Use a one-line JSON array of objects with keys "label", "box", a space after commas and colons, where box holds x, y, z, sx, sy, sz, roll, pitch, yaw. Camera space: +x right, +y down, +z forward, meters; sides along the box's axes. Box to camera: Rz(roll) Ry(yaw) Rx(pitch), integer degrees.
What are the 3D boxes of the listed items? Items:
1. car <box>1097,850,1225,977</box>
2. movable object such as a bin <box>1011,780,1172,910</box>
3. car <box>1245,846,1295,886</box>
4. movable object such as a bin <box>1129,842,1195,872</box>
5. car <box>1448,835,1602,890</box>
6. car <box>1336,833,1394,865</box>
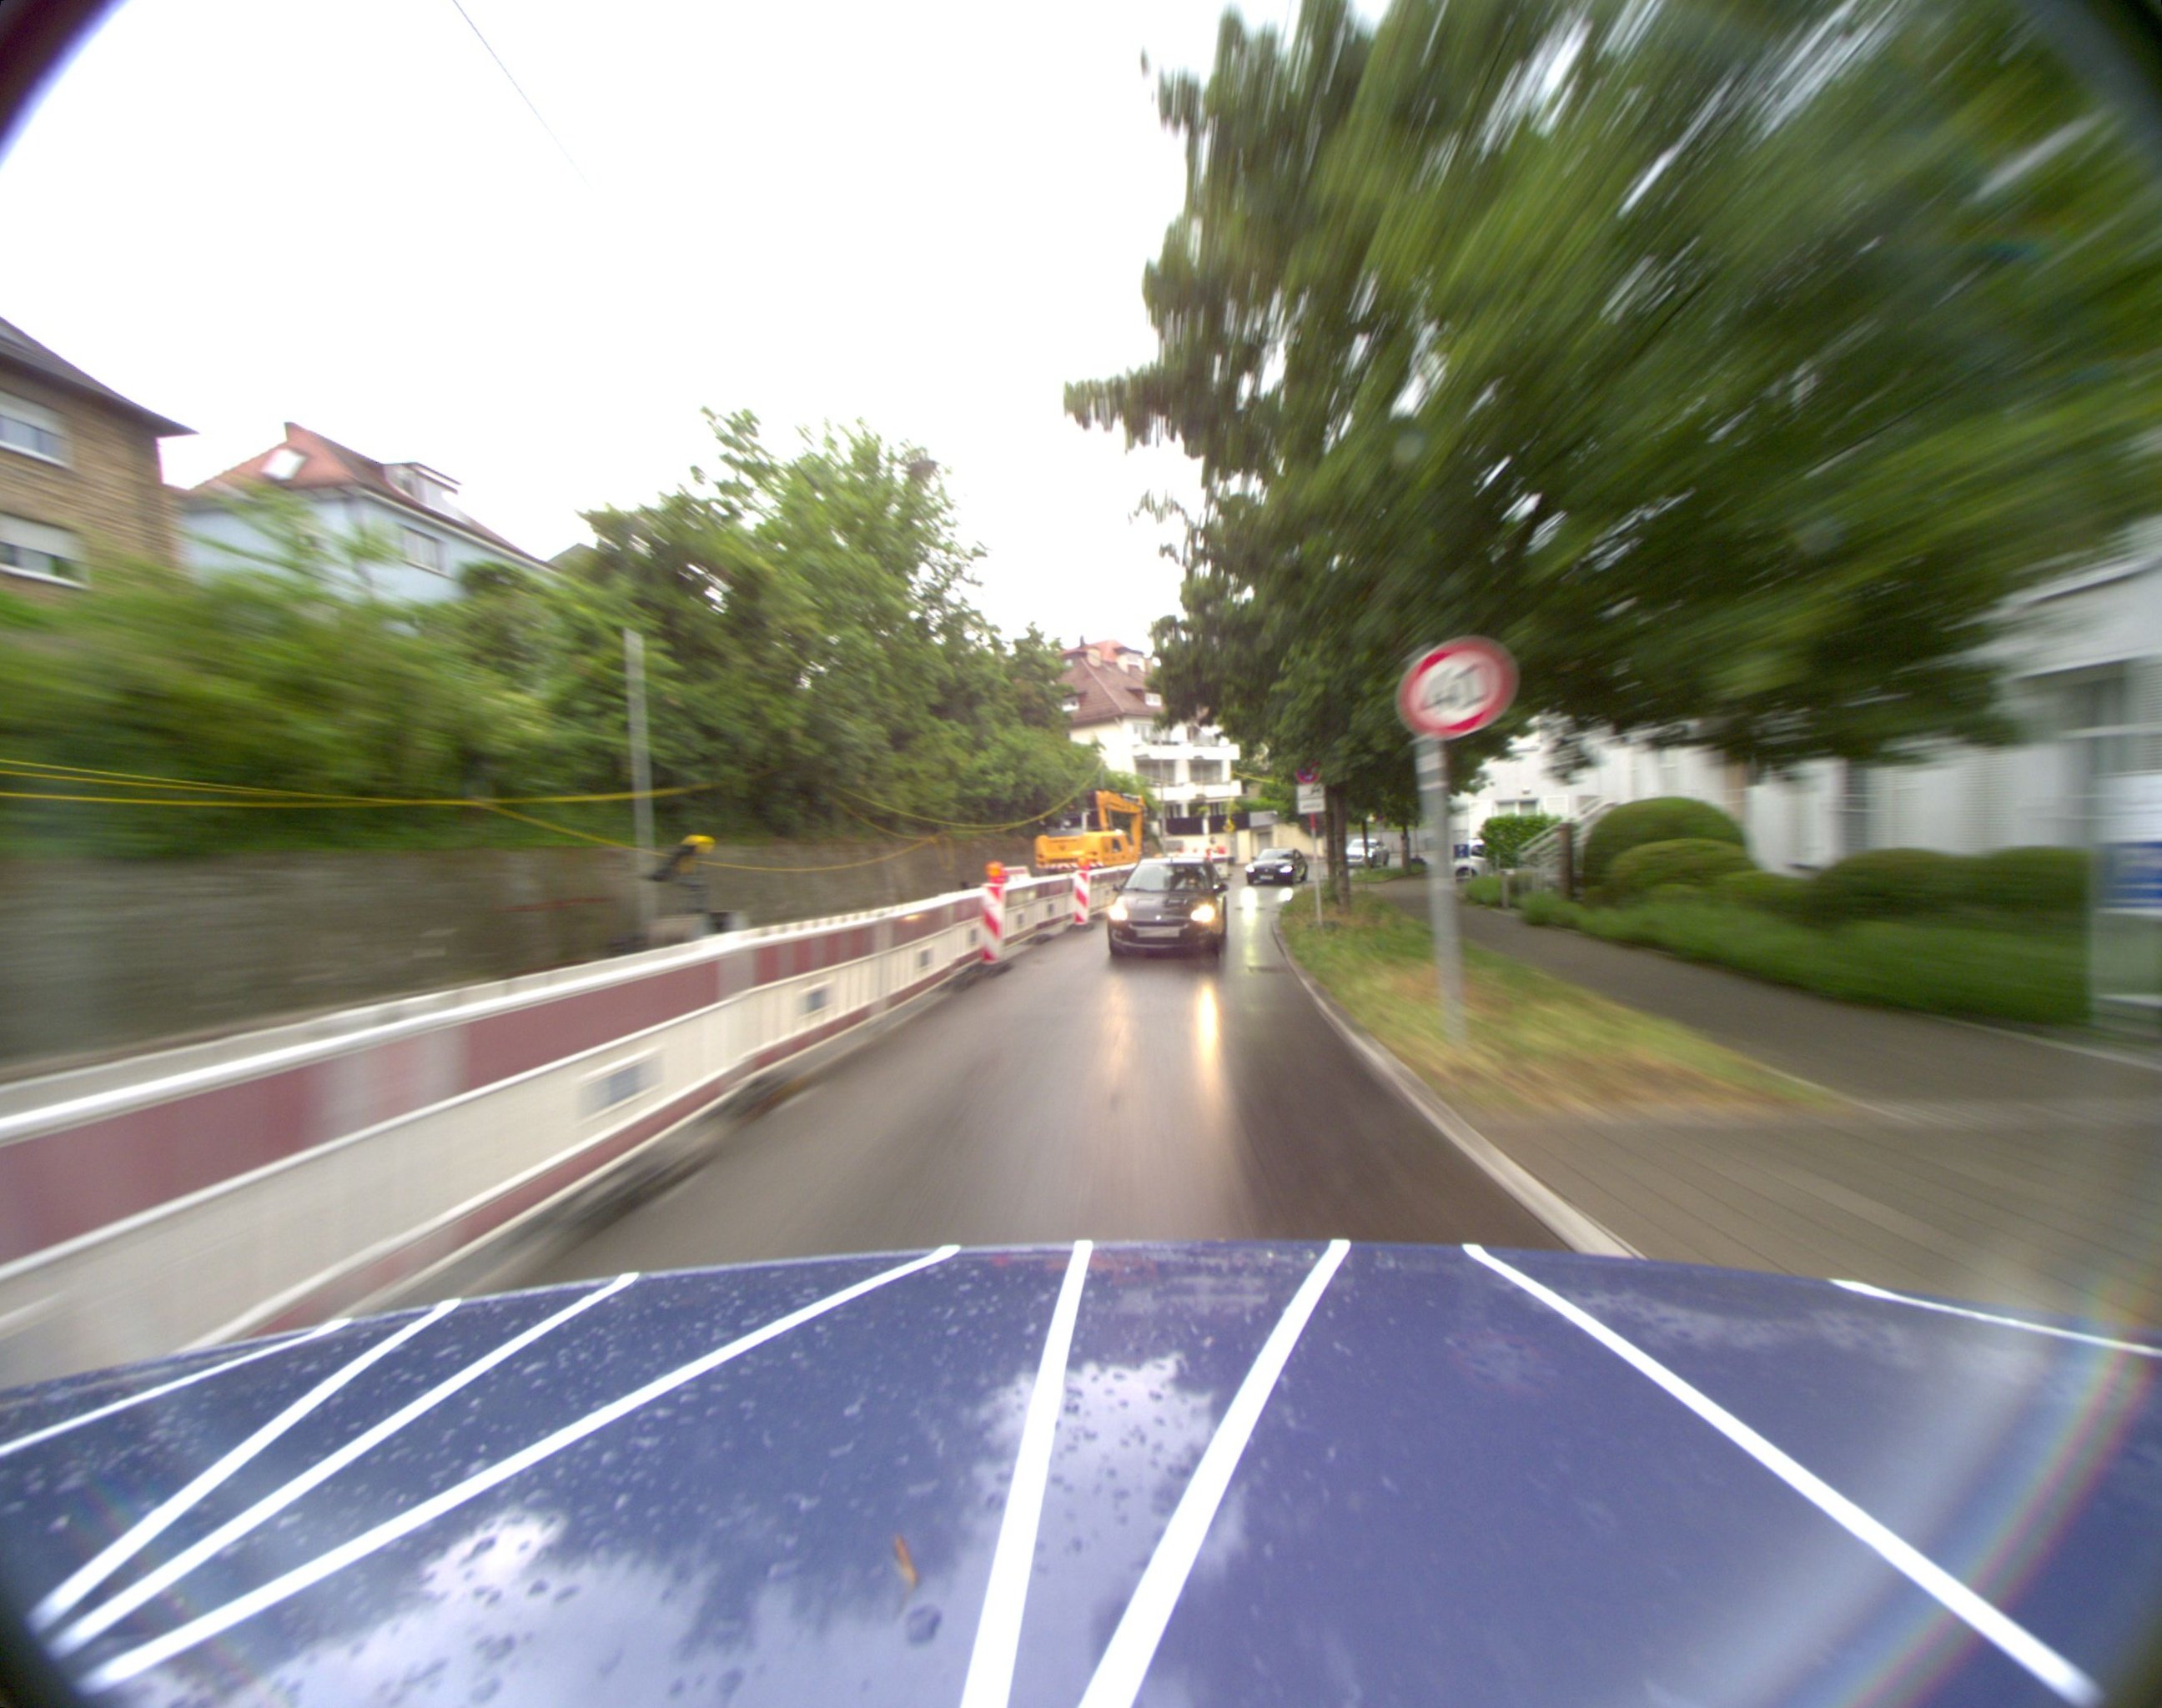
[{"label": "car", "box": [1.444, 0.849, 12.438, 1.576, 1.445, 3.587, -2, 5, 13]}, {"label": "movable object such as a bin", "box": [0.662, -0.368, 27.233, 2.821, 3.992, 7.338, 0, 2, 26]}, {"label": "car", "box": [7.720, 0.453, 30.811, 1.805, 1.480, 4.021, -1, 1, 16]}, {"label": "movable object such as a bin", "box": [4.438, 0.152, 41.169, 1.994, 1.511, 4.007, -1, 1, 32]}, {"label": "car", "box": [13.705, 0.219, 23.675, 3.989, 1.552, 1.752, 0, 3, 28]}, {"label": "car", "box": [16.827, -0.334, 44.853, 2.008, 1.653, 4.453, 3, 4, 36]}]
